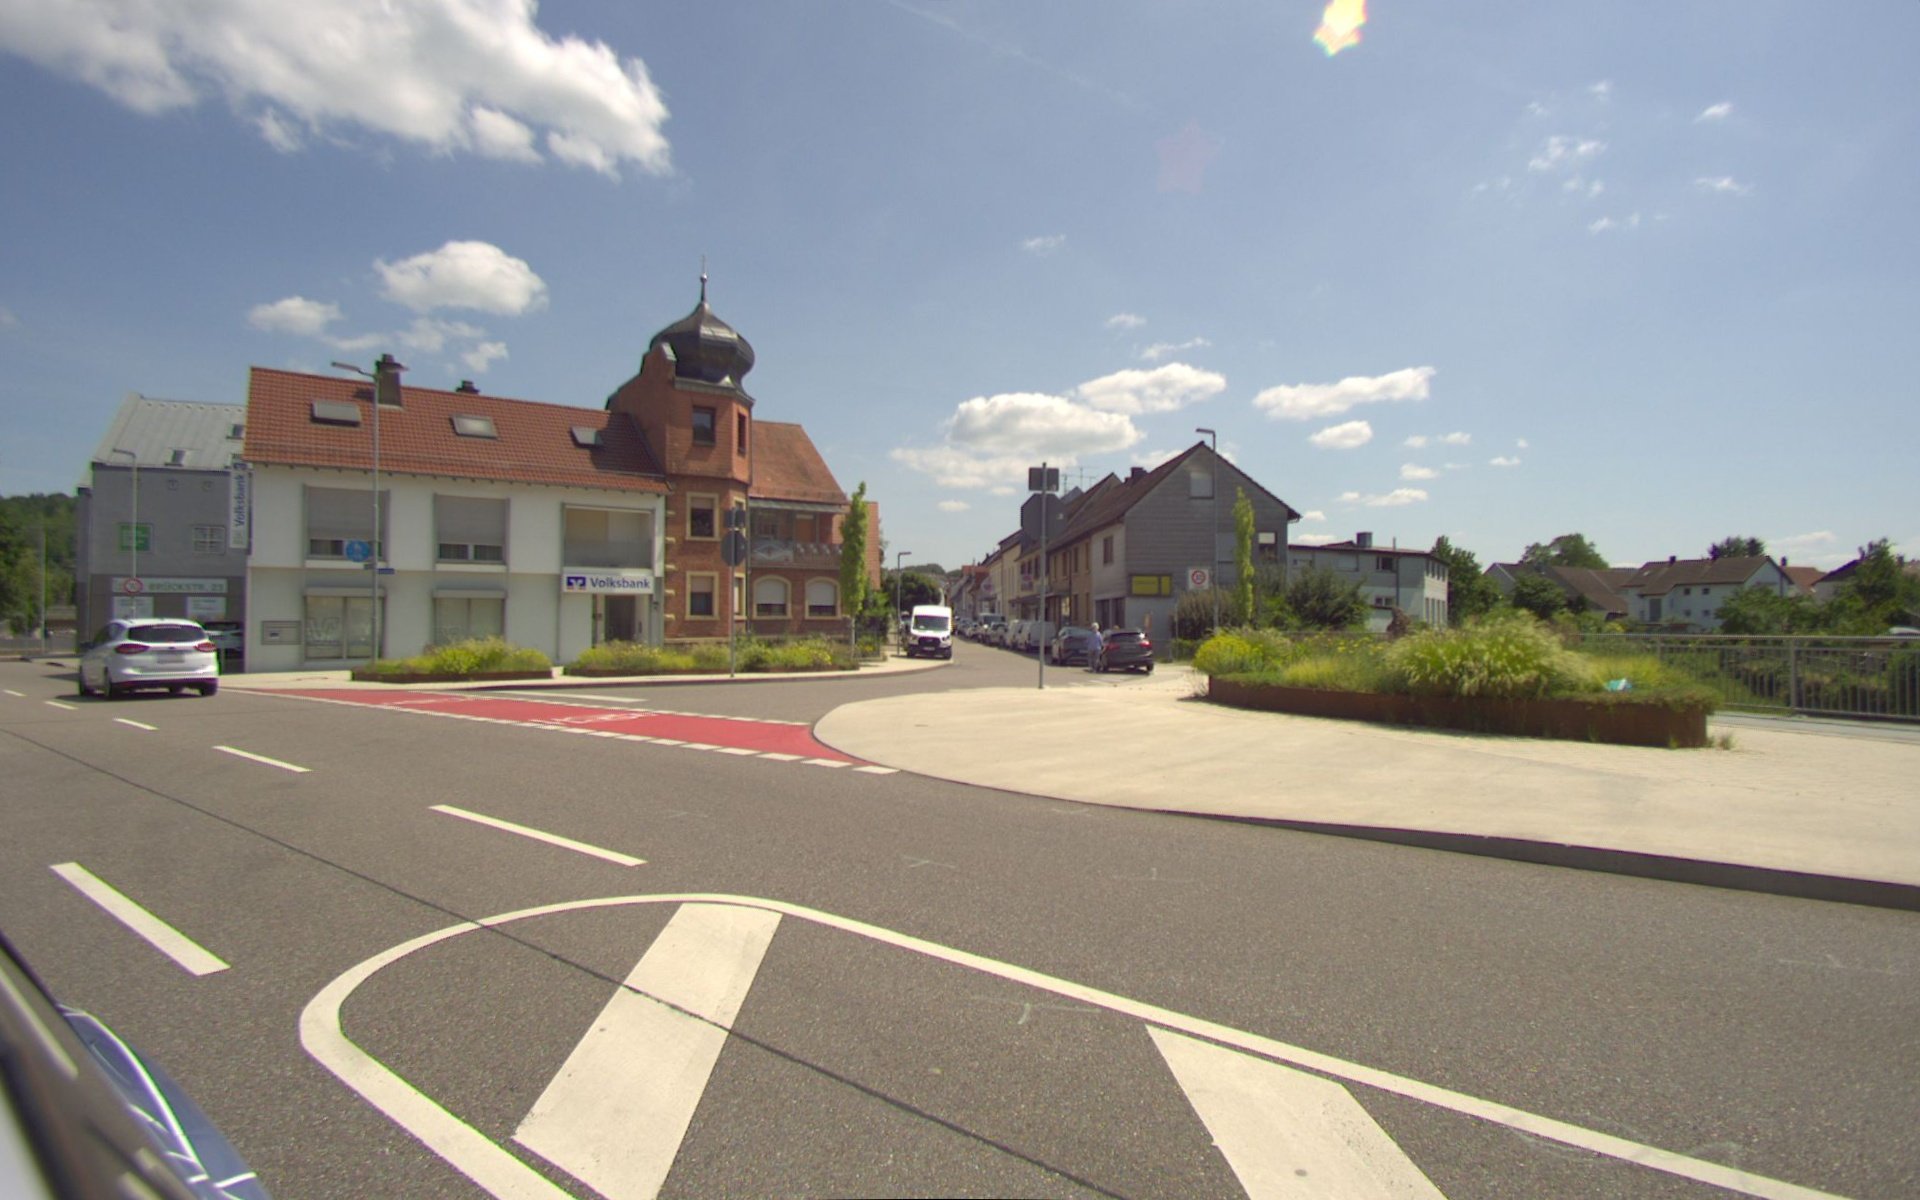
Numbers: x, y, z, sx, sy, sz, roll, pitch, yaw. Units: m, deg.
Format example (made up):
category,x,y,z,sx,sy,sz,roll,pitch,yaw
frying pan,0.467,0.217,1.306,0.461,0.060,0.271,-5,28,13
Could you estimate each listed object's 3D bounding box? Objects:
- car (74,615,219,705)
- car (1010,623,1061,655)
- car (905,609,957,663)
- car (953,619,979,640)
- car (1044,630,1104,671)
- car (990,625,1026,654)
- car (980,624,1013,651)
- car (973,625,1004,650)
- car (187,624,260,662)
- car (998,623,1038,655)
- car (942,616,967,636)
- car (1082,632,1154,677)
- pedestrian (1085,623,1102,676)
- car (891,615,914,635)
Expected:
category,x,y,z,sx,sy,sz,roll,pitch,yaw
car,-16.933,1.148,21.006,4.000,1.662,1.795,-1,0,43
car,4.268,2.225,57.796,2.036,1.741,4.007,1,-2,-9
car,-1.294,1.673,47.410,2.143,2.363,5.110,1,-2,1
car,0.517,2.691,91.545,1.839,1.864,4.005,1,-2,-6
car,4.646,2.035,41.716,1.761,1.559,4.236,1,-2,-3
car,3.187,2.616,67.990,1.839,1.864,4.005,1,-2,-6
car,2.605,2.722,73.050,1.839,1.864,4.005,1,-2,-6
car,2.172,2.860,78.209,1.839,1.864,4.005,1,-2,-6
car,-32.255,1.898,44.438,1.965,1.587,4.266,2,-3,-28
car,3.581,2.388,62.944,1.894,1.892,4.005,1,-2,-5
car,-0.572,2.696,104.598,1.968,2.029,4.007,1,-2,-8
car,5.471,1.878,35.510,1.835,1.475,4.000,0,-2,-1
pedestrian,4.488,1.656,34.120,0.500,1.762,0.614,0,-2,4
car,-5.968,2.592,104.427,1.968,2.029,4.007,1,-2,-8
